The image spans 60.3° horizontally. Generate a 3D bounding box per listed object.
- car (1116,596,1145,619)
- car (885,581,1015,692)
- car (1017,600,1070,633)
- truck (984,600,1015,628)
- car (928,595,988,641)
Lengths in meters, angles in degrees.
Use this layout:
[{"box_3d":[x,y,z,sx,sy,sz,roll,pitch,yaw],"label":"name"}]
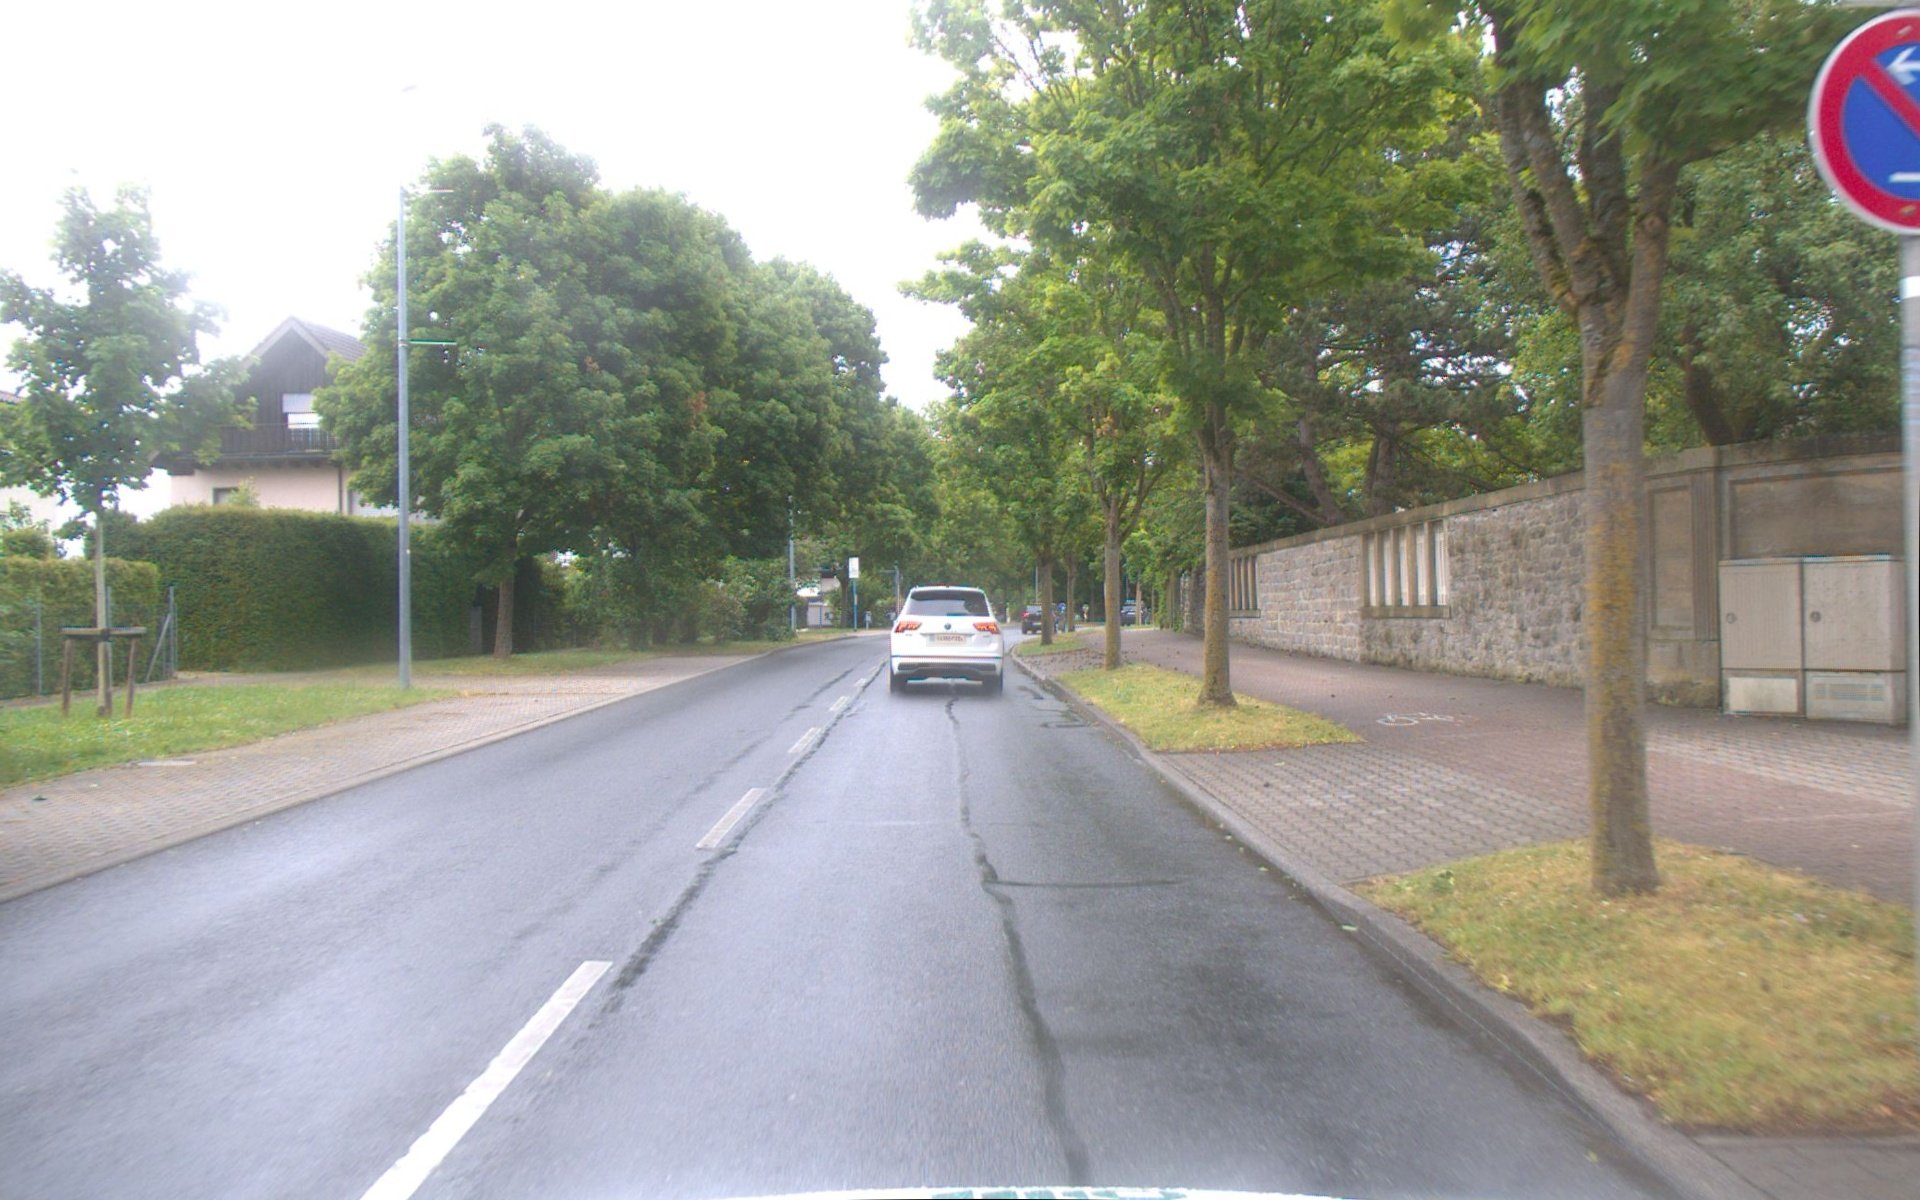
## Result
[{"box_3d":[11.861,0.533,115.209,1.801,1.513,4.003,-2,-1,8],"label":"car"},{"box_3d":[-0.206,0.543,27.144,1.956,1.660,3.999,1,0,-2],"label":"car"},{"box_3d":[4.068,0.811,80.354,1.801,1.513,4.003,2,0,14],"label":"car"},{"box_3d":[3.796,1.347,158.739,2.236,2.642,5.878,-1,-1,8],"label":"truck"},{"box_3d":[-0.029,0.653,59.406,1.802,1.513,4.002,-2,-1,4],"label":"car"}]
